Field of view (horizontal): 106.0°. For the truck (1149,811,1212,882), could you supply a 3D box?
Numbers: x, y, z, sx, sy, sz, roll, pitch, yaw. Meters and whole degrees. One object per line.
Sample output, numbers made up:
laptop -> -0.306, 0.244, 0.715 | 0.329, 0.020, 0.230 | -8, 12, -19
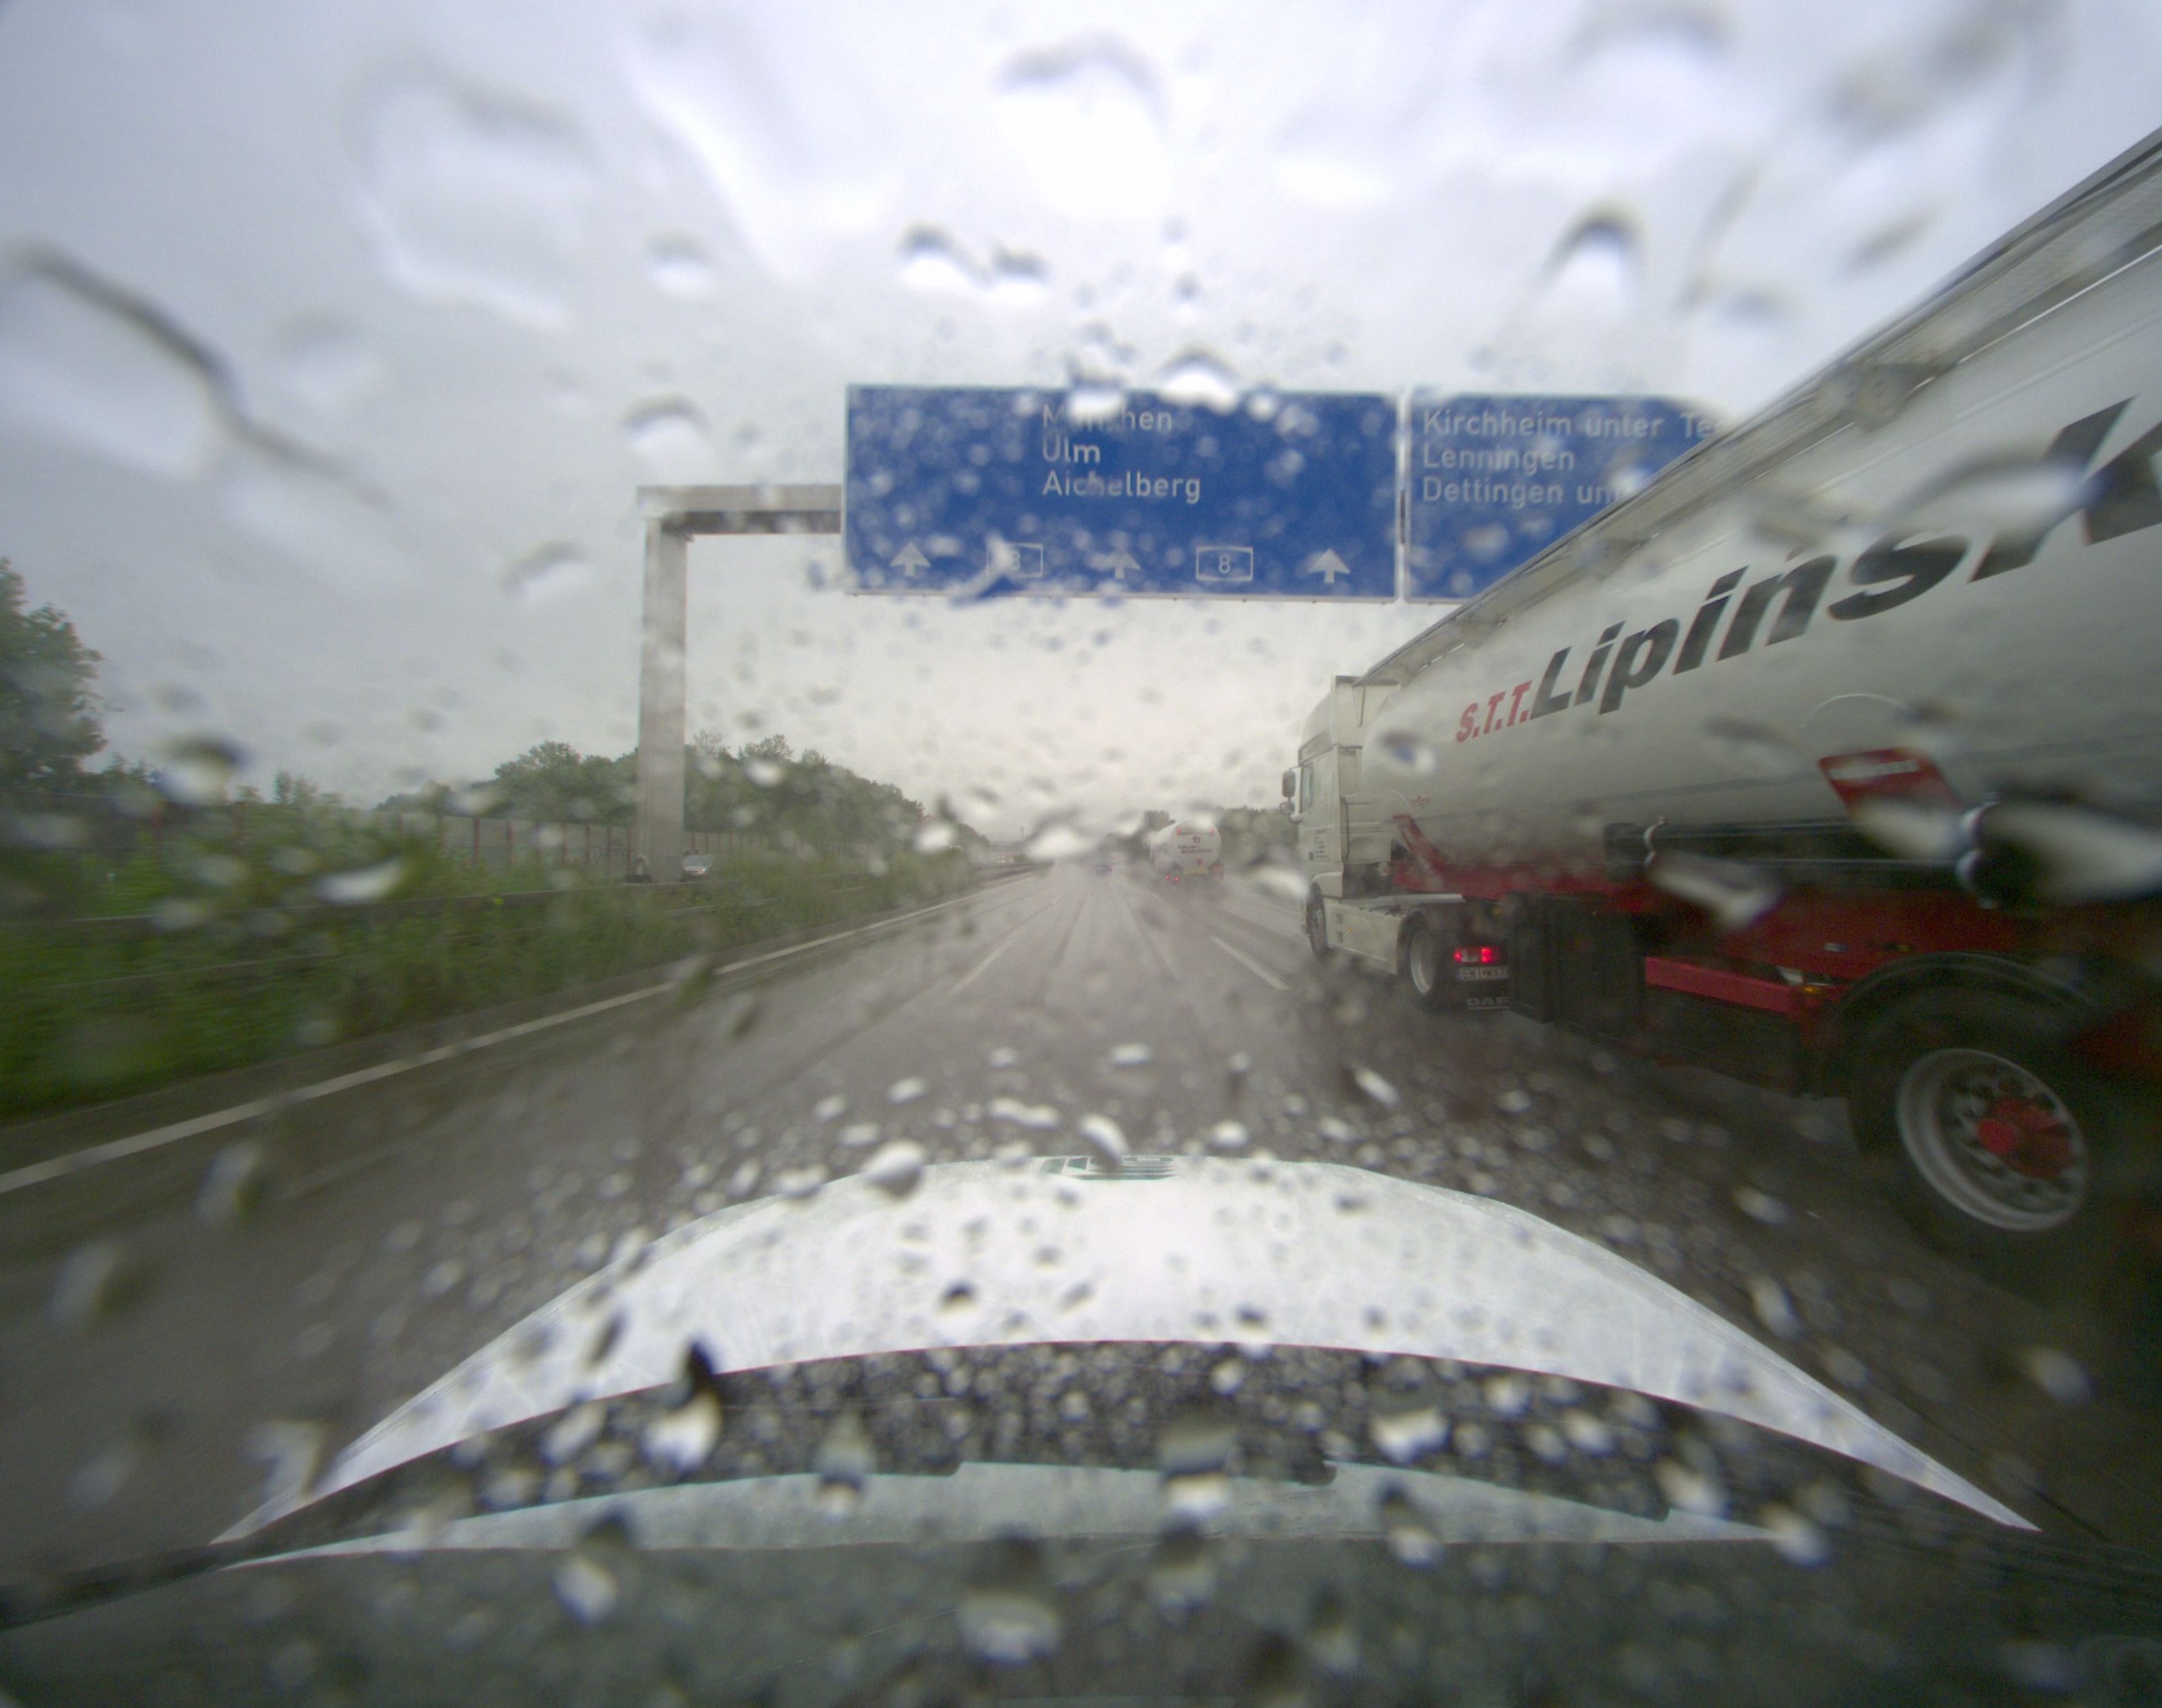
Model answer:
truck -> 5.521, -0.390, 46.122 | 2.933, 3.684, 6.363 | 0, 0, 1

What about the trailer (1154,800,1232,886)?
trailer -> 5.384, -0.473, 40.772 | 2.993, 3.848, 8.627 | 0, 0, 2

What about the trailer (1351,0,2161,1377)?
trailer -> 4.468, -0.475, 3.474 | 3.176, 3.670, 11.673 | 0, 0, 2

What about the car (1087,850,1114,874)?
car -> 1.473, 0.583, 62.340 | 1.972, 1.756, 4.481 | -1, 0, 0

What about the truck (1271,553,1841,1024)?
truck -> 4.690, -0.517, 10.224 | 3.093, 3.807, 7.214 | 0, 0, 2
